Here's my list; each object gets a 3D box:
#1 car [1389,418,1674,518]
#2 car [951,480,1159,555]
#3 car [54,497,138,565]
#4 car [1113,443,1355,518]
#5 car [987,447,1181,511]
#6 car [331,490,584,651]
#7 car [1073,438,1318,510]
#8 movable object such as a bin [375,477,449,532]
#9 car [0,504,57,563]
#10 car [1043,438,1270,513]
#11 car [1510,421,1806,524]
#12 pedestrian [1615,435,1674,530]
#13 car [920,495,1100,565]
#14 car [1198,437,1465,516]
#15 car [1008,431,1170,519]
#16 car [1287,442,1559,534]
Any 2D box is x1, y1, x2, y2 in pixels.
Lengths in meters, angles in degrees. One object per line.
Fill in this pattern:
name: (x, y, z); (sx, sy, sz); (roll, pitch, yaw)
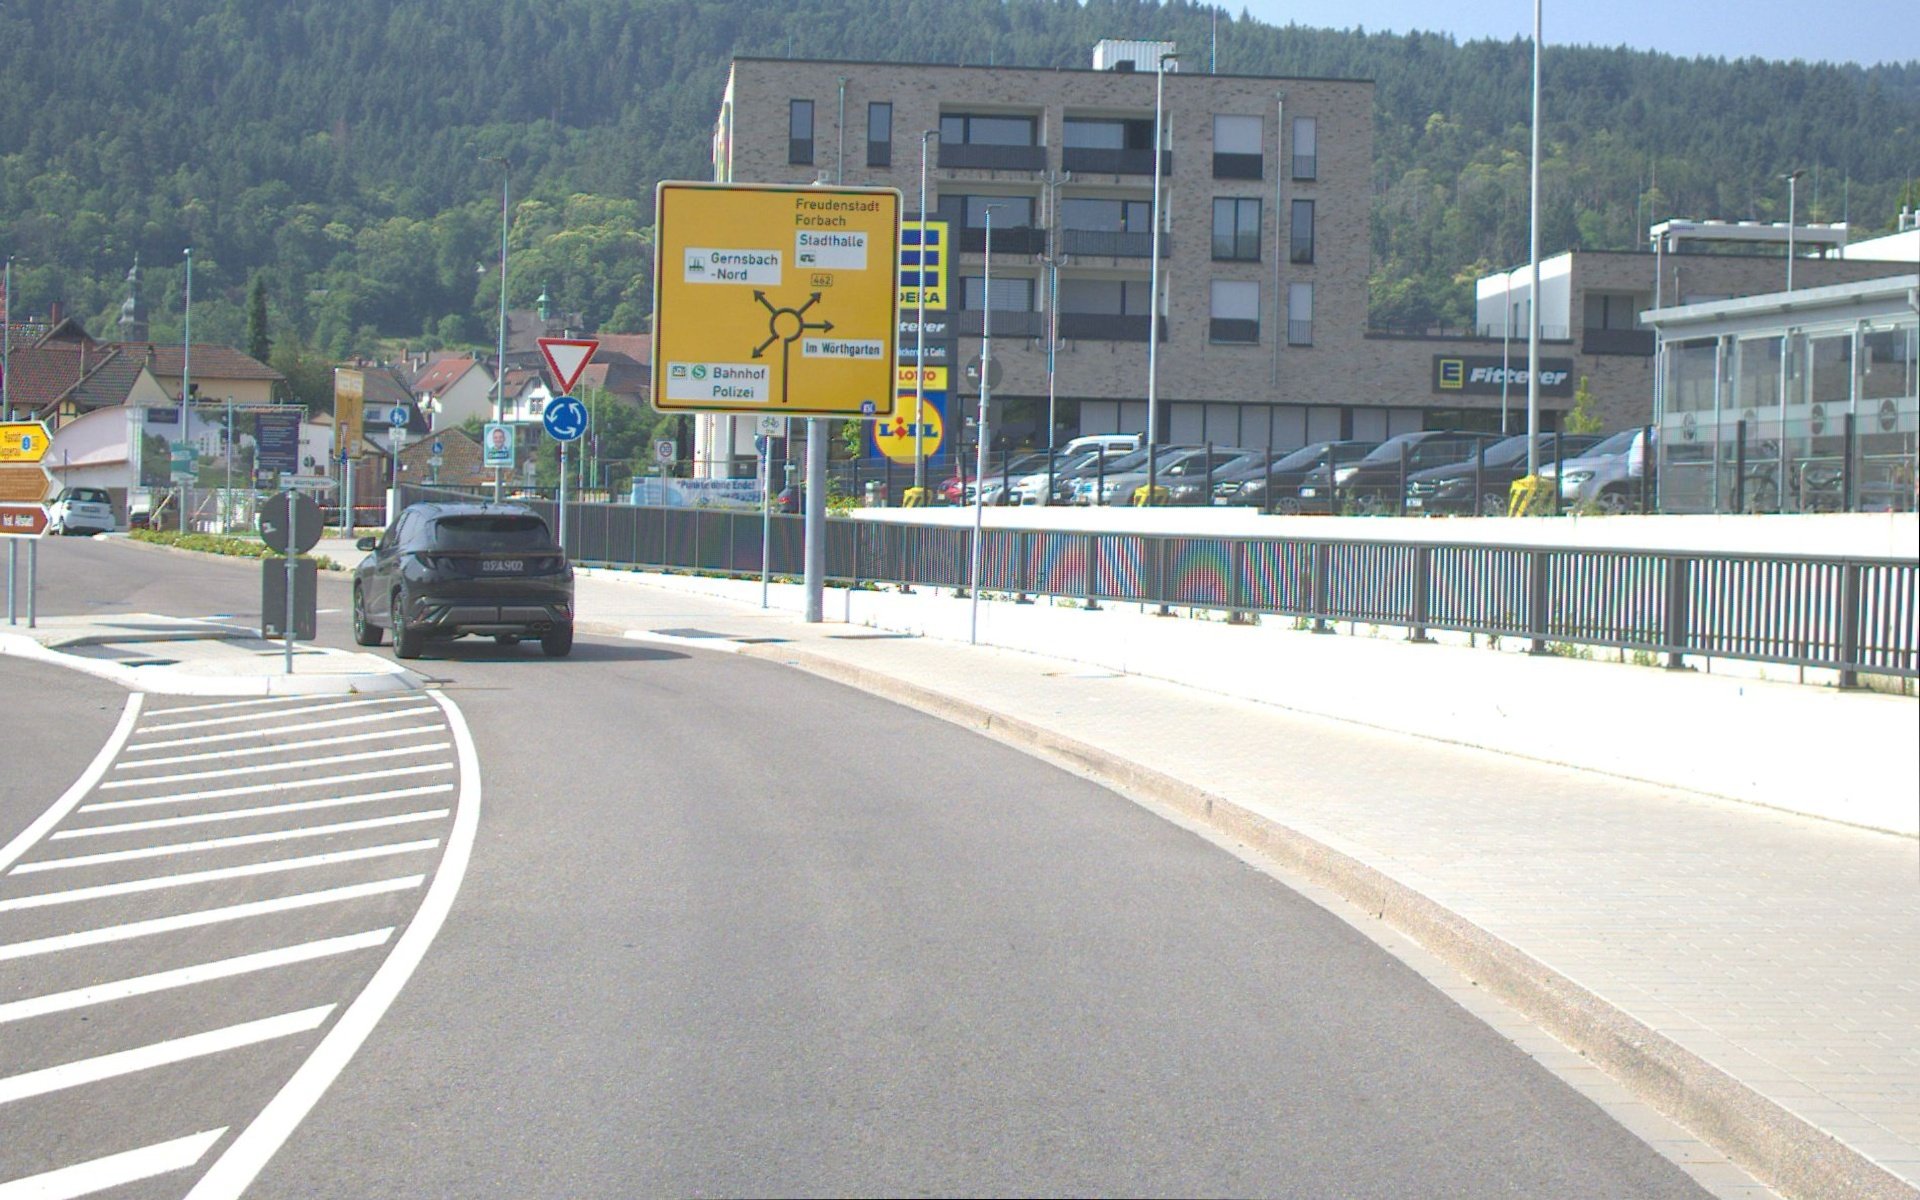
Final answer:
car: (8.729, -2.006, 52.526); (4.060, 1.399, 1.486); (1, 2, -20)
car: (2.008, -1.763, 72.997); (4.055, 1.482, 1.717); (1, 2, -17)
car: (-26.221, -2.078, 104.429); (1.993, 2.007, 4.001); (0, 1, -7)
car: (4.946, -2.154, 62.151); (3.965, 1.241, 1.730); (1, 2, -20)
car: (2.526, -2.466, 70.178); (3.554, 1.195, 1.715); (1, 2, -19)
car: (-5.610, -0.338, 37.999); (1.880, 1.678, 4.001); (0, 1, -22)
car: (4.431, -2.372, 64.798); (4.277, 1.241, 1.665); (1, 2, -20)
movable object such as a bin: (-18.667, -3.252, 116.996); (2.442, 1.837, 1.429); (0, 1, -10)
car: (-32.590, -2.310, 119.082); (1.993, 2.007, 4.001); (0, 1, -23)
car: (3.816, -2.403, 66.743); (4.035, 1.338, 1.661); (1, 2, -19)
car: (10.023, -1.829, 49.411); (3.804, 1.359, 1.681); (1, 2, -20)
pedestrian: (9.546, -1.632, 47.975); (0.547, 1.307, 0.657); (0, 1, -17)
car: (1.098, -1.542, 75.594); (3.554, 1.425, 1.711); (1, 2, -19)
car: (6.410, -2.126, 59.341); (4.212, 1.241, 1.745); (1, 2, -20)
car: (3.227, -3.112, 86.067); (3.987, 2.128, 2.000); (0, 1, 2)
car: (7.549, -1.823, 56.101); (4.004, 1.399, 1.726); (1, 2, -20)
